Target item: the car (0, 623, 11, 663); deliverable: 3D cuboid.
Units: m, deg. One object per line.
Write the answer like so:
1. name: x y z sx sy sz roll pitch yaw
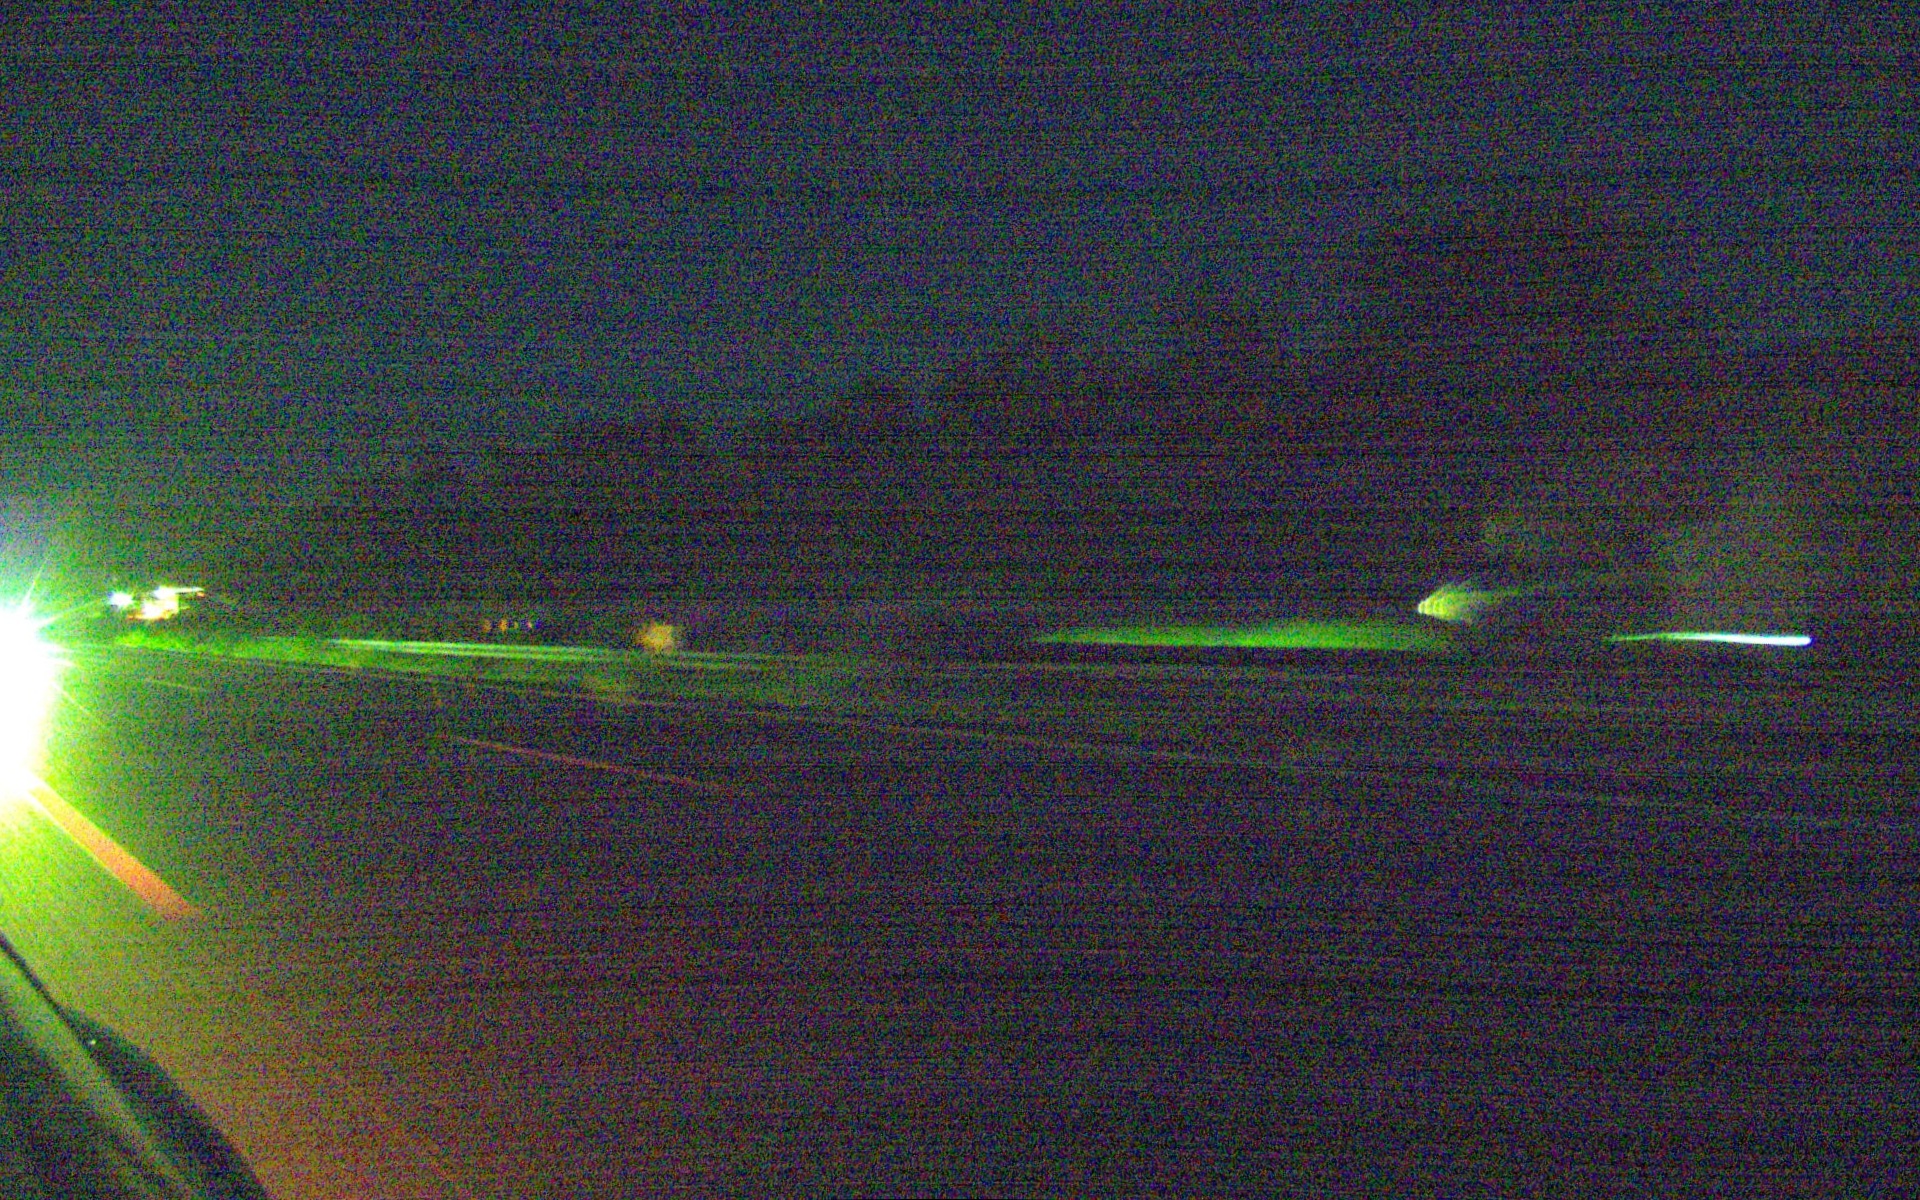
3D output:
1. car: -38.733 1.698 39.951 1.807 1.422 4.003 -1 2 -44
